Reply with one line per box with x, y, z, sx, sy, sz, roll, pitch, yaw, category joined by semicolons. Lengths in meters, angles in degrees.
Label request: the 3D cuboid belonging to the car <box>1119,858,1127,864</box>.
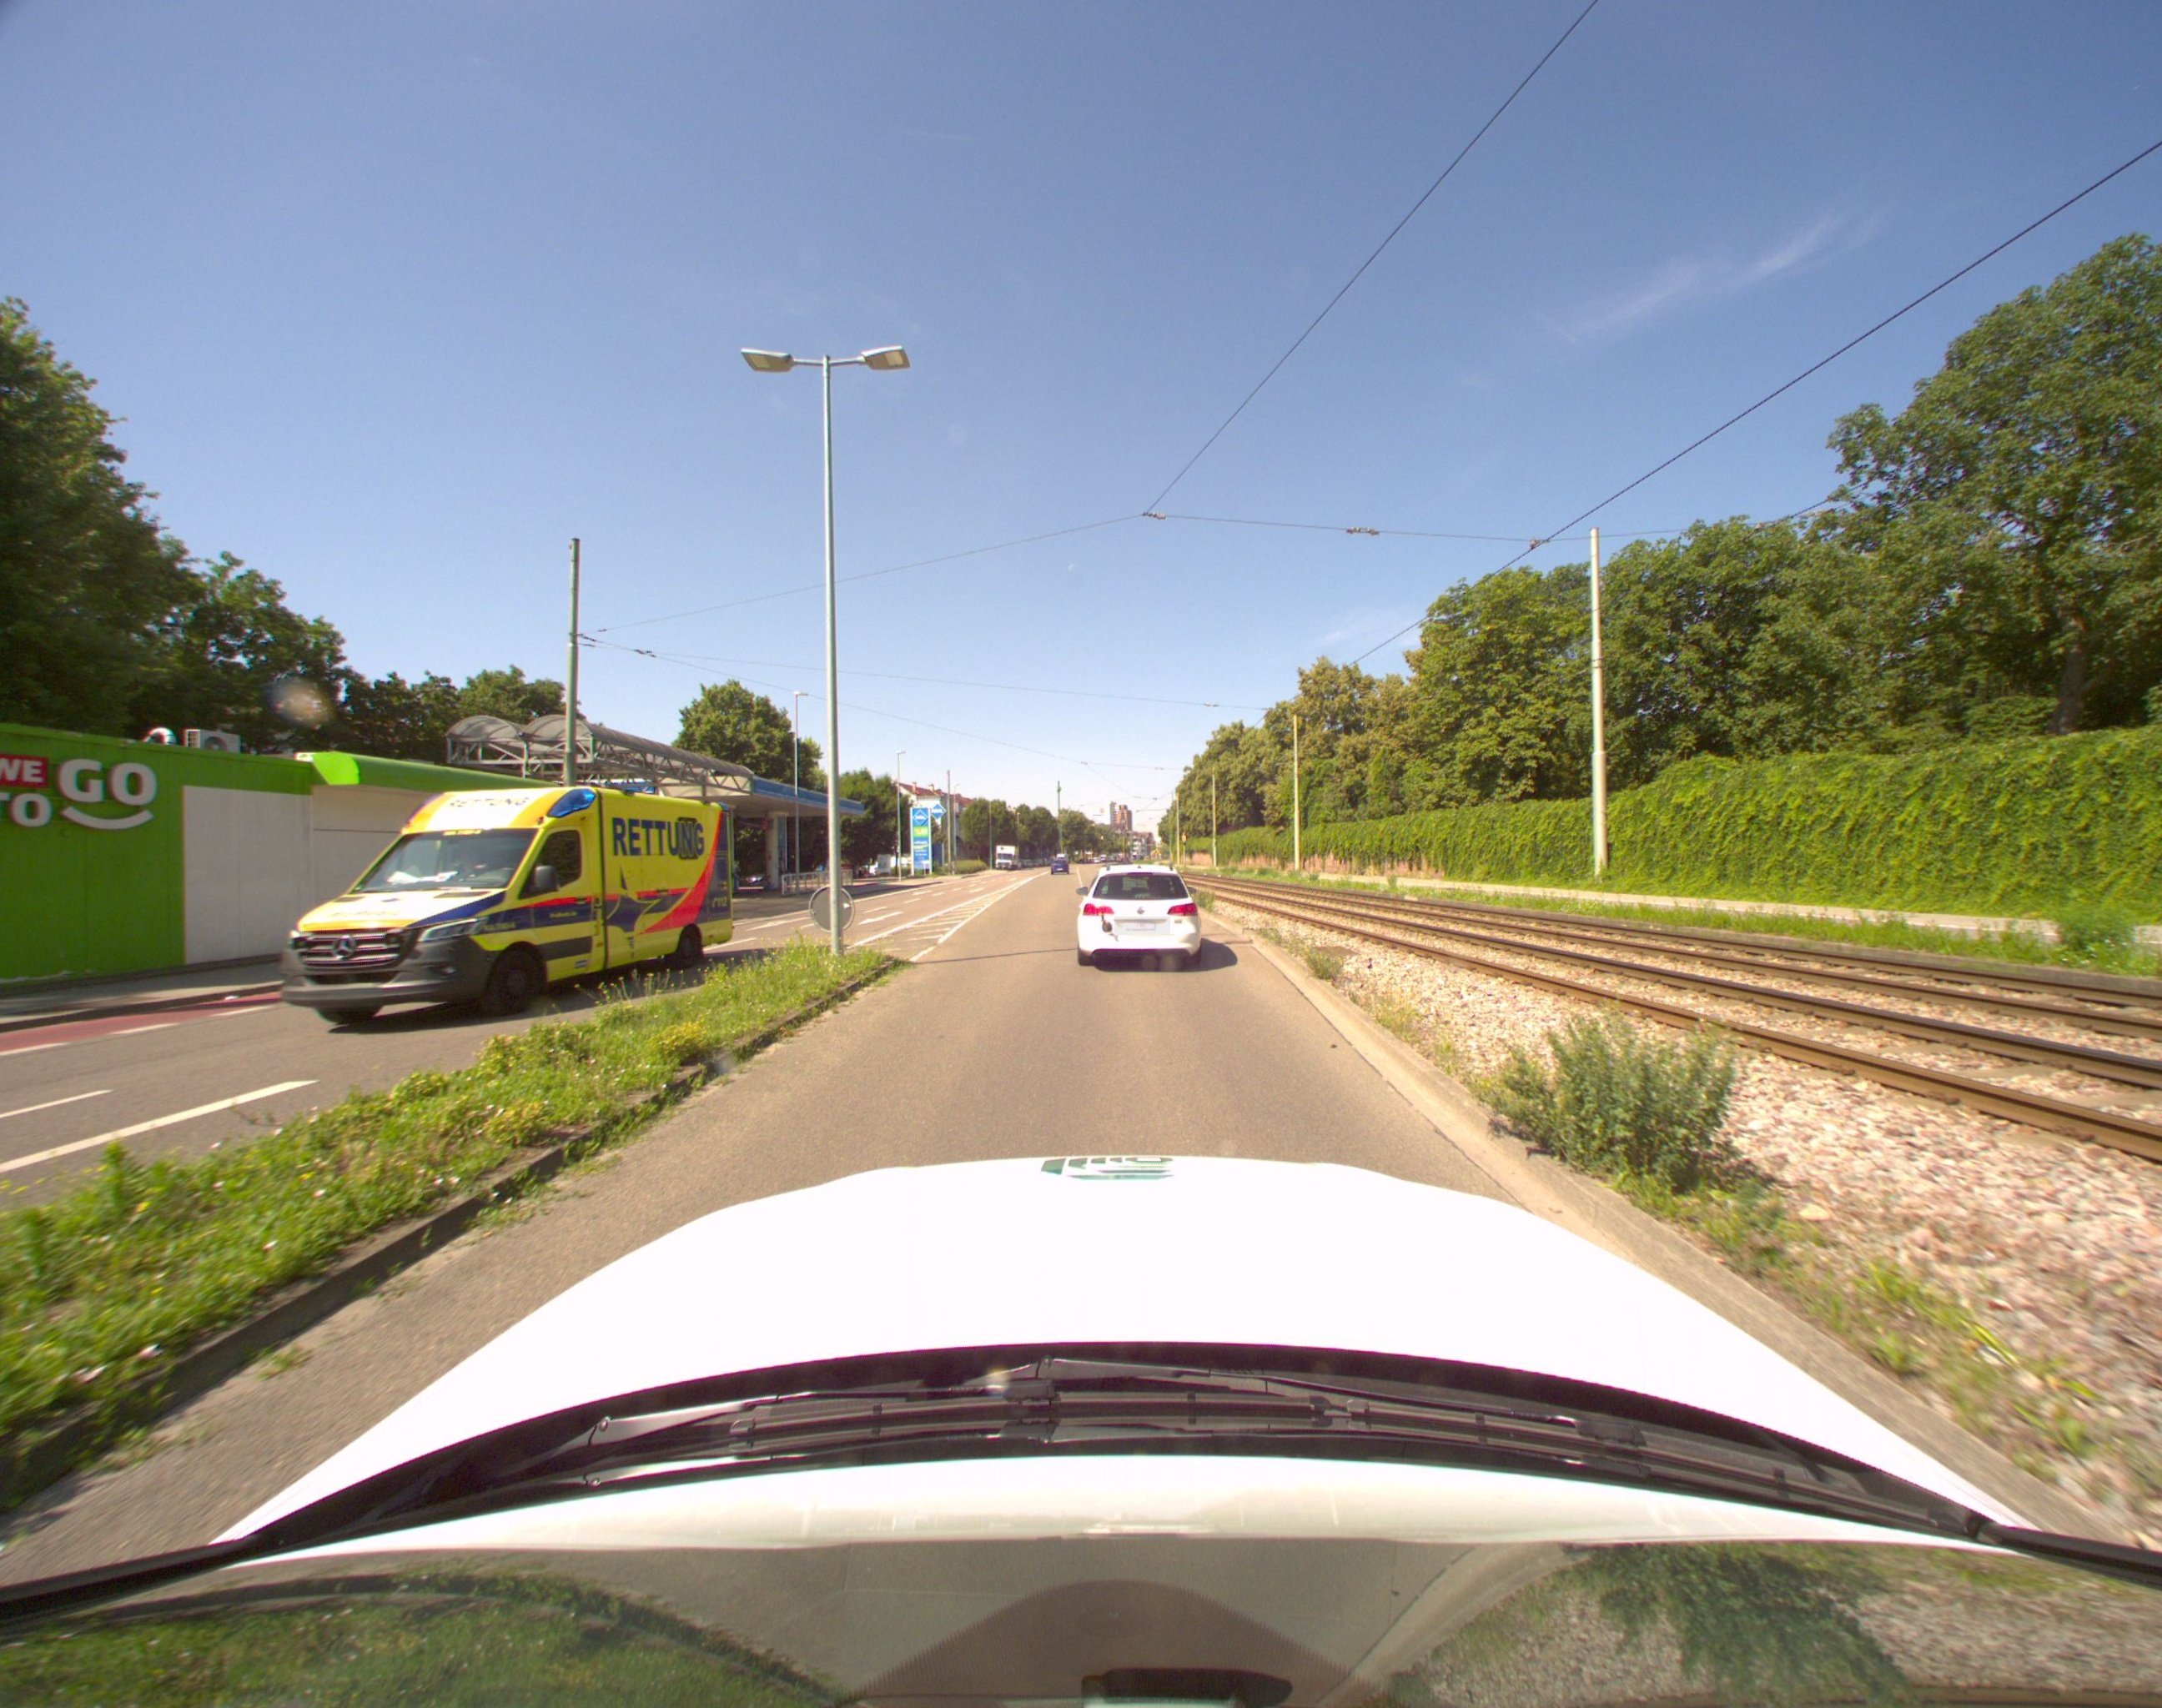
11.178;1.880;218.773;1.790;1.507;4.009;0;0;8;car

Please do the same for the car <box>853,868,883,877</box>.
-29.921;2.613;114.466;3.627;1.205;1.580;-2;-1;10;car

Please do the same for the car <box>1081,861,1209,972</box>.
0.841;0.843;12.968;1.686;1.451;4.457;0;0;0;car

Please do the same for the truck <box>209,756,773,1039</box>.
-7.139;0.438;11.591;2.321;2.668;7.364;-2;0;3;truck

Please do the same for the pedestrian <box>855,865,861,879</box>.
-22.875;1.835;83.602;0.497;1.481;0.500;-2;-1;0;pedestrian

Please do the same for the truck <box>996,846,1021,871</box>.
-10.468;0.654;118.517;2.658;3.530;8.590;0;-1;1;truck

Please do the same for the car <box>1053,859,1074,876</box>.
-1.632;1.229;77.498;1.794;1.507;4.001;0;0;1;car

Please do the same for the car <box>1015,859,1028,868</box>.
-10.068;1.647;138.497;1.724;1.552;4.319;0;-1;1;car

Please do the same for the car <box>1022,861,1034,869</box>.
-9.631;1.996;149.136;1.774;1.483;4.858;0;-1;1;car

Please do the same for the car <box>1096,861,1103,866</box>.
4.985;2.571;218.711;1.651;1.420;4.316;-3;-1;5;car

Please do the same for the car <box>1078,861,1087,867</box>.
0.440;2.751;221.797;1.688;1.417;4.013;-2;-1;12;car

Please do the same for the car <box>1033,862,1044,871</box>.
-8.431;2.451;161.757;1.709;1.625;4.318;0;-1;5;car

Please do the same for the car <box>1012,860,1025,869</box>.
-10.075;1.749;130.798;1.751;1.429;4.281;0;-1;0;car

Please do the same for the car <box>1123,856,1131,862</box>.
13.174;1.468;232.090;1.790;1.460;4.009;-2;-1;8;car

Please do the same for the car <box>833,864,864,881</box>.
-23.641;1.842;82.987;1.794;1.570;4.517;-2;1;0;car
